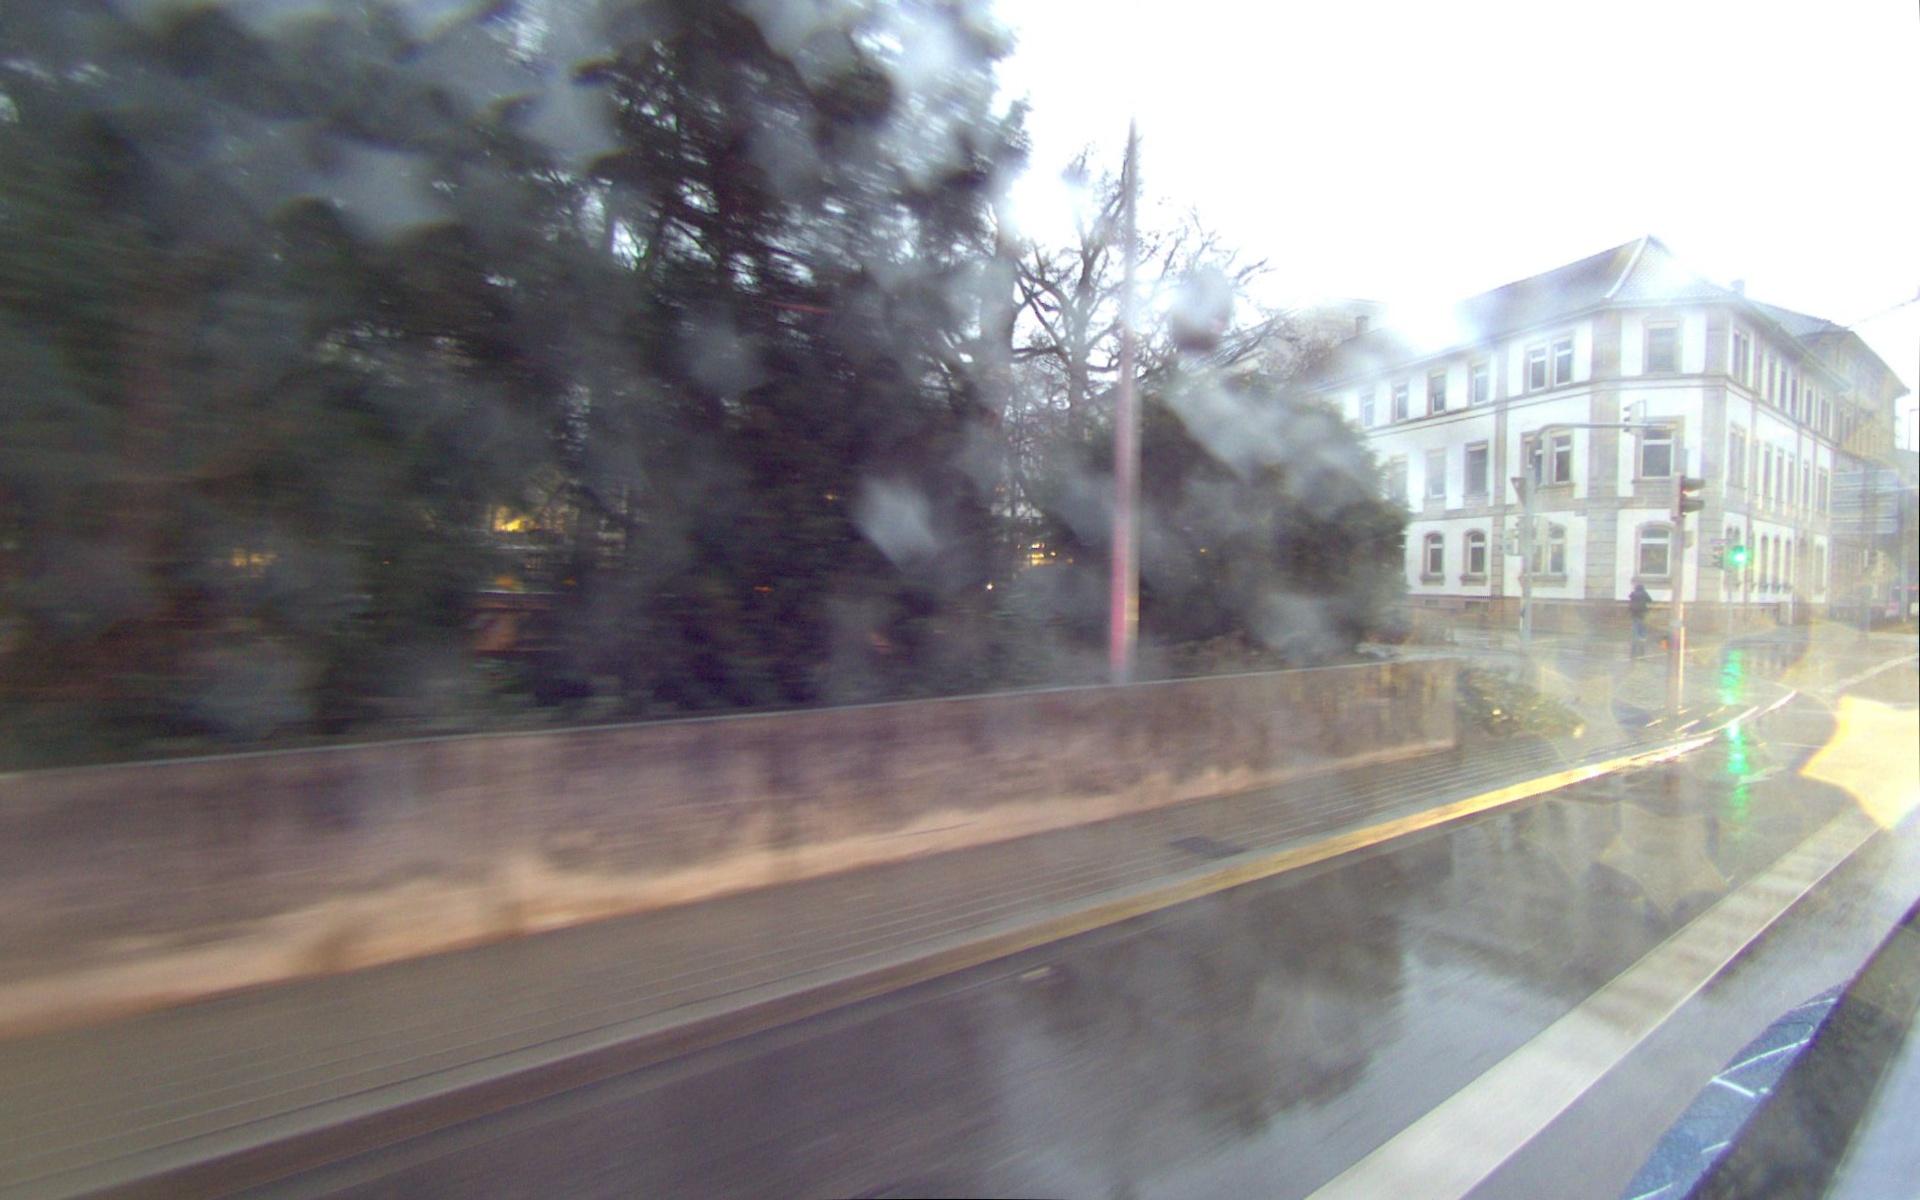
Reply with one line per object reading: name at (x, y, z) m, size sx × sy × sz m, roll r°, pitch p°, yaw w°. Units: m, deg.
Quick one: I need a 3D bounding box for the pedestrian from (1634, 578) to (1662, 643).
pedestrian at (20.395, 0.311, 30.008) m, size 0.671 × 1.903 × 0.706 m, roll 0°, pitch 0°, yaw 35°

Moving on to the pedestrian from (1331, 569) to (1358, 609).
pedestrian at (19.426, -0.536, 51.132) m, size 0.849 × 2.006 × 0.980 m, roll 0°, pitch 0°, yaw -18°

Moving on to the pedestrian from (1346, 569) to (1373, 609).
pedestrian at (20.291, -0.555, 51.417) m, size 0.849 × 2.006 × 0.980 m, roll 0°, pitch 0°, yaw -18°
